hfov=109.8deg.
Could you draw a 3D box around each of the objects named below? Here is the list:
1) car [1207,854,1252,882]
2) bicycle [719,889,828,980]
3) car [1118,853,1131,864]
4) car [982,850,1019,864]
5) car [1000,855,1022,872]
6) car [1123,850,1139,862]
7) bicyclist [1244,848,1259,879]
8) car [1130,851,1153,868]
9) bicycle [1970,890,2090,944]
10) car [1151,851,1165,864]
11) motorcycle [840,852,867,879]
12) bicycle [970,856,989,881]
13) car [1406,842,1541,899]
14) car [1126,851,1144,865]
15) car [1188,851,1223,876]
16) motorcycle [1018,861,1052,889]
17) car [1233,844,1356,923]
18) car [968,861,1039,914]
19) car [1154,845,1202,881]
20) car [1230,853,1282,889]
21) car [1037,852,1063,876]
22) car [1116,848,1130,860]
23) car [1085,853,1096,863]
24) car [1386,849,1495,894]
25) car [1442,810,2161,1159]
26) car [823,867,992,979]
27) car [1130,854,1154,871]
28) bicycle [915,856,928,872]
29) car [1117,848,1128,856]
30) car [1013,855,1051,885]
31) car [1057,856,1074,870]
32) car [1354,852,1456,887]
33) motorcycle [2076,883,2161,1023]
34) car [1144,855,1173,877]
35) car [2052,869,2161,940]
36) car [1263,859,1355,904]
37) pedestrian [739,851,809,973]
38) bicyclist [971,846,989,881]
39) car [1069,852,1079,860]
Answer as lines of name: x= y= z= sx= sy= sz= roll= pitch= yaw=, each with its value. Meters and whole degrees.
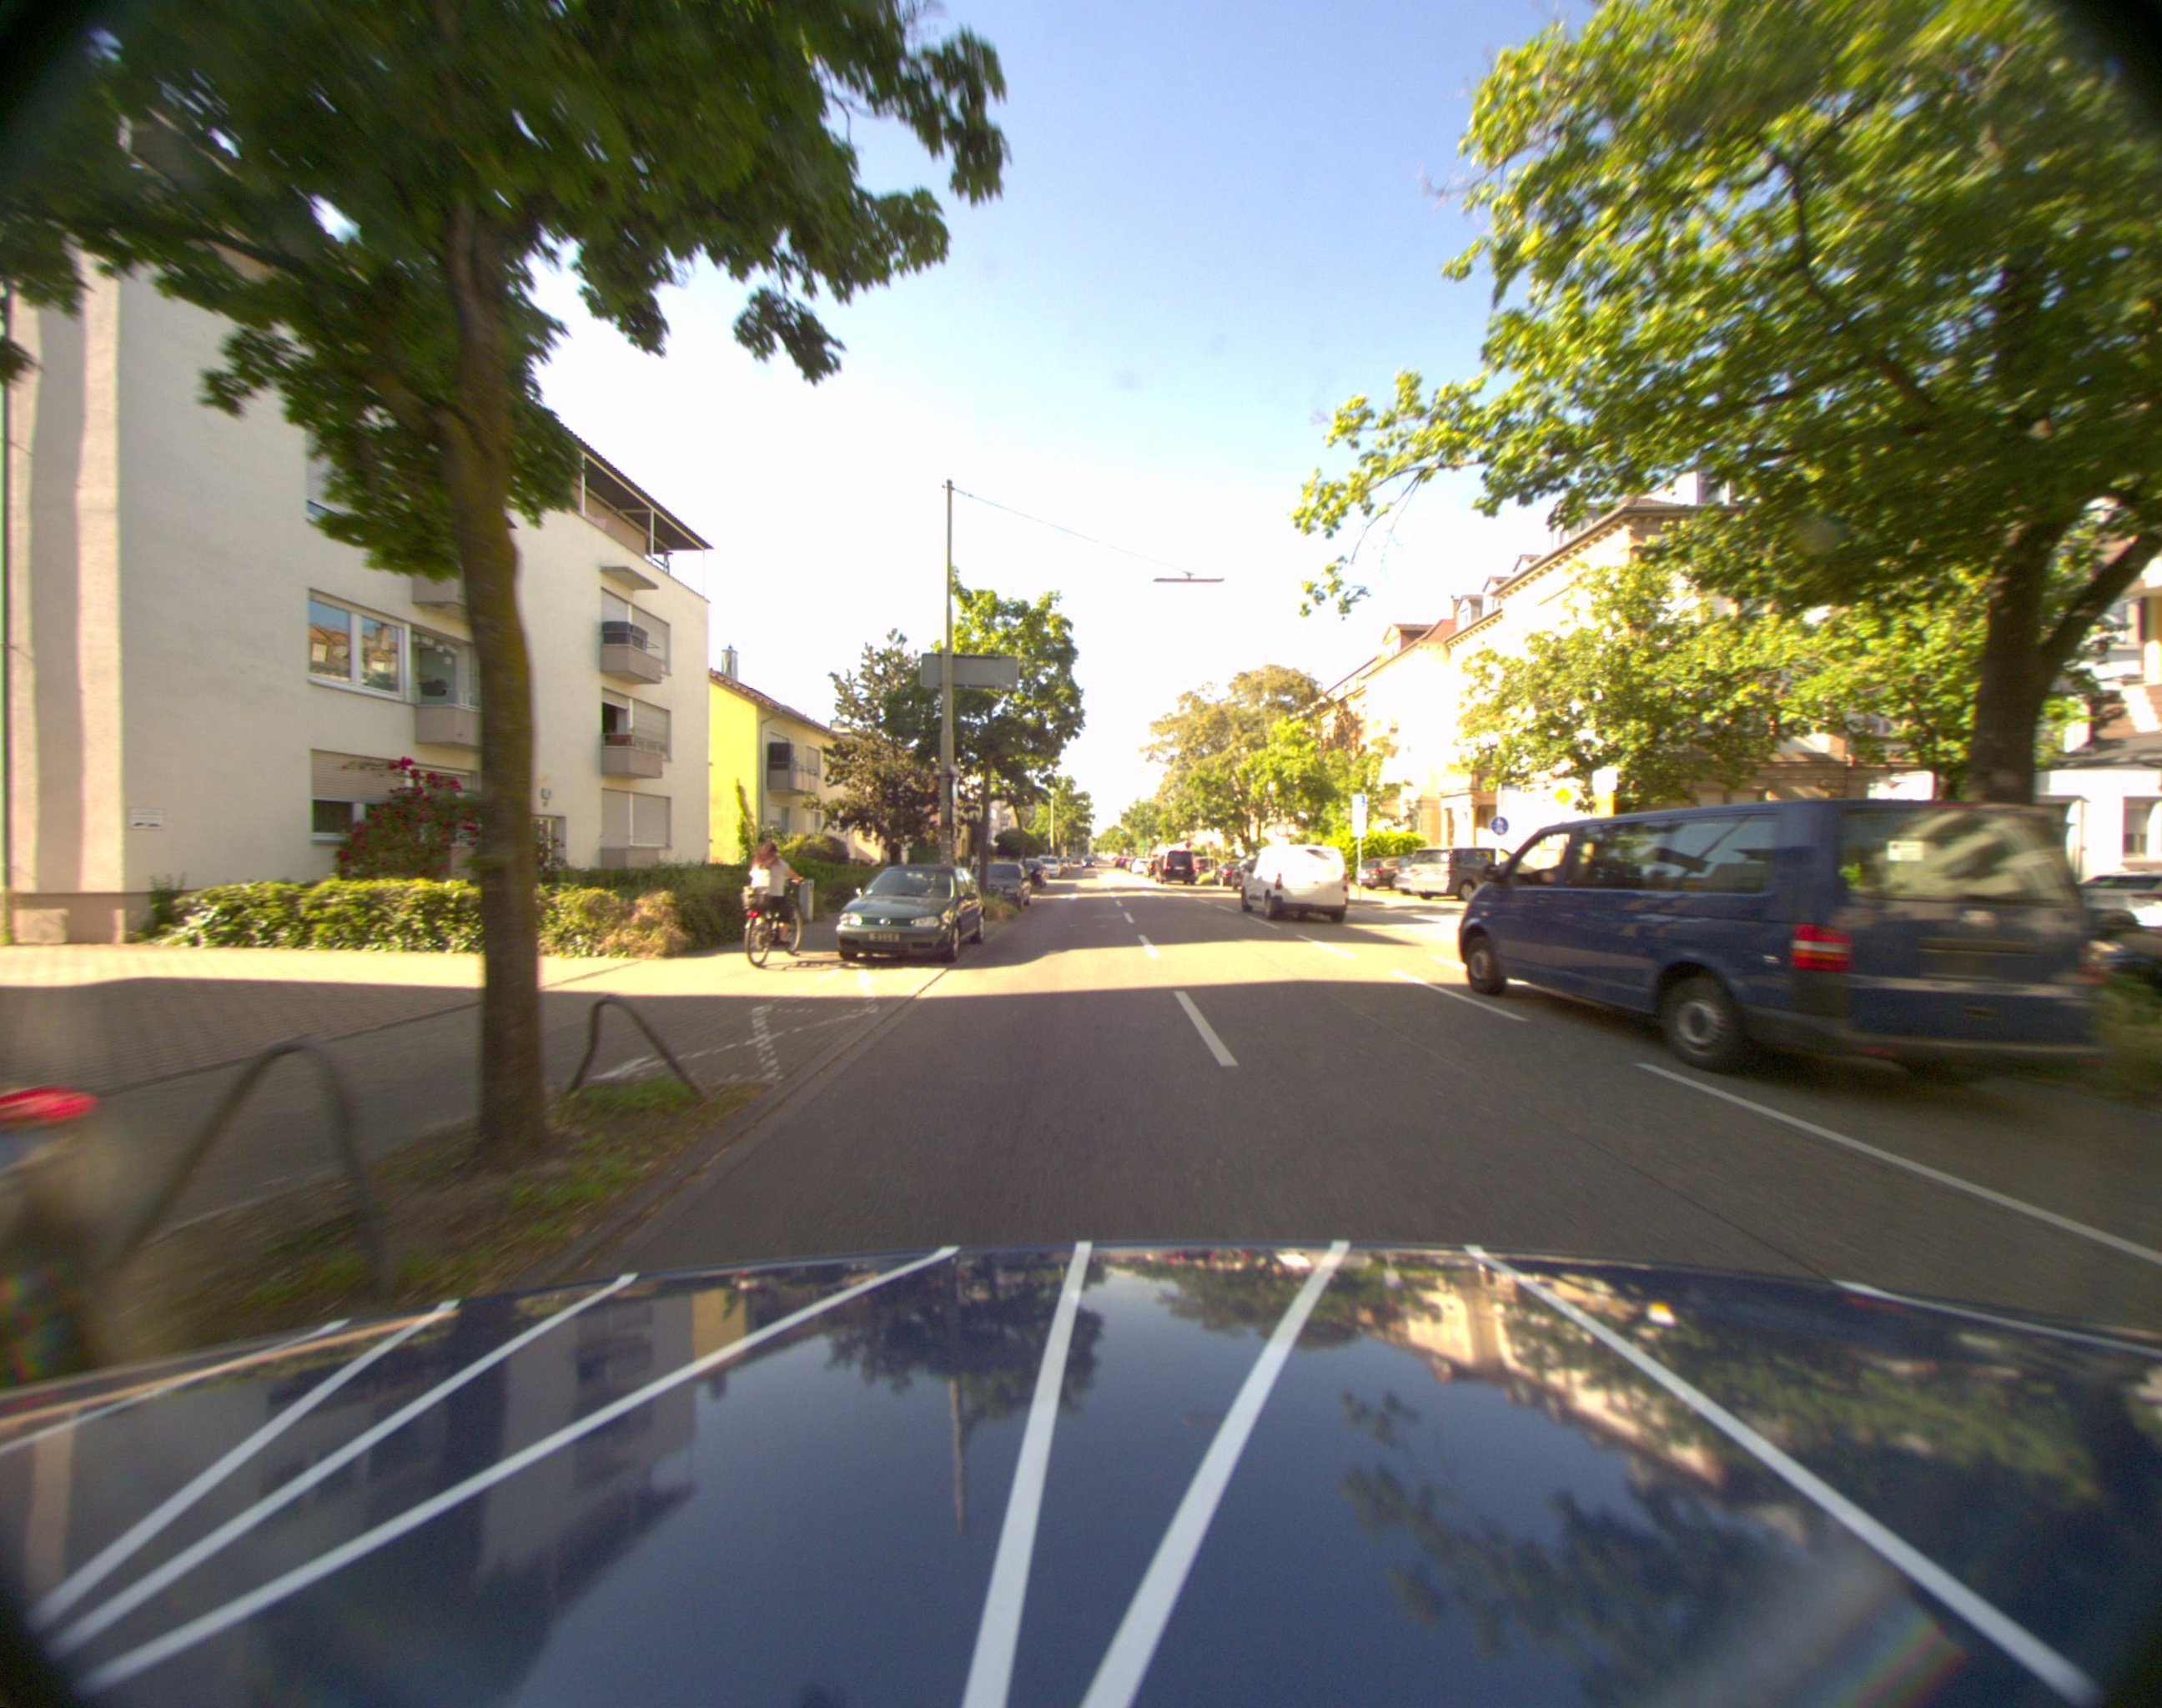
car: x=8.119 y=0.750 z=41.848 sx=1.641 sy=1.408 sz=4.089 roll=-2 pitch=0 yaw=1
bicycle: x=-4.349 y=1.093 z=10.946 sx=0.684 sy=1.063 sz=2.127 roll=0 pitch=0 yaw=1
car: x=6.558 y=0.684 z=113.688 sx=1.726 sy=1.607 sz=4.300 roll=3 pitch=0 yaw=1
car: x=-9.335 y=0.350 z=88.296 sx=3.997 sy=1.433 sz=1.831 roll=3 pitch=1 yaw=1
car: x=-6.110 y=0.798 z=66.496 sx=1.535 sy=1.348 sz=3.717 roll=3 pitch=0 yaw=1
car: x=6.040 y=0.237 z=92.454 sx=1.639 sy=1.395 sz=3.735 roll=2 pitch=0 yaw=-1
bicyclist: x=10.169 y=0.569 z=45.311 sx=0.660 sy=1.813 sz=1.054 roll=0 pitch=1 yaw=1
car: x=5.962 y=0.551 z=75.304 sx=1.841 sy=1.604 sz=4.400 roll=2 pitch=0 yaw=0
bicycle: x=19.252 y=1.245 z=15.473 sx=0.404 sy=0.974 sz=1.760 roll=1 pitch=-1 yaw=7
car: x=8.879 y=0.358 z=87.842 sx=1.404 sy=1.480 sz=3.685 roll=-1 pitch=0 yaw=2
motorcycle: x=-11.731 y=0.566 z=39.270 sx=0.638 sy=1.367 sz=2.425 roll=1 pitch=0 yaw=1
bicycle: x=-5.211 y=0.734 z=39.025 sx=0.699 sy=1.239 sz=1.822 roll=1 pitch=0 yaw=1
car: x=13.906 y=0.536 z=26.899 sx=4.333 sy=1.868 sz=1.876 roll=-1 pitch=0 yaw=-22
car: x=5.859 y=0.384 z=82.617 sx=1.585 sy=1.443 sz=3.744 roll=0 pitch=0 yaw=-2
car: x=8.310 y=0.623 z=51.126 sx=1.629 sy=1.579 sz=4.347 roll=-2 pitch=0 yaw=0
motorcycle: x=-2.221 y=0.985 z=36.141 sx=0.701 sy=1.264 sz=2.426 roll=1 pitch=0 yaw=-27
car: x=5.292 y=0.655 z=19.448 sx=1.820 sy=1.733 sz=4.492 roll=2 pitch=0 yaw=0
car: x=-2.308 y=0.960 z=23.649 sx=1.590 sy=1.388 sz=4.454 roll=2 pitch=0 yaw=1
car: x=5.560 y=0.483 z=44.237 sx=2.021 sy=1.940 sz=5.178 roll=2 pitch=0 yaw=0
car: x=8.240 y=0.763 z=36.084 sx=1.682 sy=1.546 sz=4.008 roll=-1 pitch=0 yaw=2
car: x=-2.207 y=0.675 z=55.049 sx=1.773 sy=1.649 sz=4.340 roll=1 pitch=0 yaw=-1
car: x=5.460 y=0.022 z=99.613 sx=1.660 sy=1.508 sz=4.076 roll=3 pitch=0 yaw=1
car: x=1.382 y=0.603 z=110.463 sx=1.654 sy=1.348 sz=4.304 roll=0 pitch=0 yaw=1
car: x=14.207 y=0.665 z=30.011 sx=3.925 sy=1.635 sz=1.677 roll=-1 pitch=0 yaw=-23
car: x=5.207 y=0.729 z=6.645 sx=1.807 sy=1.900 sz=4.711 roll=2 pitch=0 yaw=1
car: x=-2.636 y=0.987 z=12.529 sx=1.696 sy=1.419 sz=4.147 roll=0 pitch=0 yaw=2
car: x=5.412 y=0.735 z=67.855 sx=1.737 sy=1.404 sz=4.192 roll=2 pitch=0 yaw=1
bicycle: x=-11.058 y=0.697 z=52.710 sx=0.456 sy=0.987 sz=1.743 roll=2 pitch=2 yaw=1
car: x=7.963 y=-0.338 z=146.349 sx=1.702 sy=1.398 sz=4.505 roll=3 pitch=0 yaw=0
car: x=-2.552 y=0.815 z=40.477 sx=1.624 sy=1.490 sz=3.649 roll=1 pitch=0 yaw=2
car: x=-1.561 y=0.902 z=79.218 sx=1.653 sy=1.395 sz=3.969 roll=2 pitch=0 yaw=0
car: x=14.491 y=0.695 z=34.127 sx=3.916 sy=1.480 sz=1.633 roll=-1 pitch=0 yaw=4
motorcycle: x=9.054 y=0.823 z=5.948 sx=0.461 sy=1.119 sz=1.718 roll=-1 pitch=0 yaw=9
car: x=5.813 y=0.871 z=57.192 sx=1.696 sy=1.445 sz=4.173 roll=2 pitch=0 yaw=0
car: x=23.725 y=1.054 z=16.173 sx=3.997 sy=1.433 sz=1.647 roll=1 pitch=-1 yaw=0
car: x=7.950 y=0.893 z=26.935 sx=1.838 sy=1.381 sz=4.802 roll=-1 pitch=0 yaw=0
pedestrian: x=-4.360 y=0.791 z=10.820 sx=0.671 sy=1.672 sz=0.776 roll=0 pitch=1 yaw=1
bicyclist: x=-5.177 y=0.473 z=39.020 sx=0.726 sy=1.783 sz=1.015 roll=1 pitch=1 yaw=1
car: x=-1.448 y=0.397 z=156.882 sx=1.822 sy=1.542 sz=4.304 roll=0 pitch=0 yaw=1
